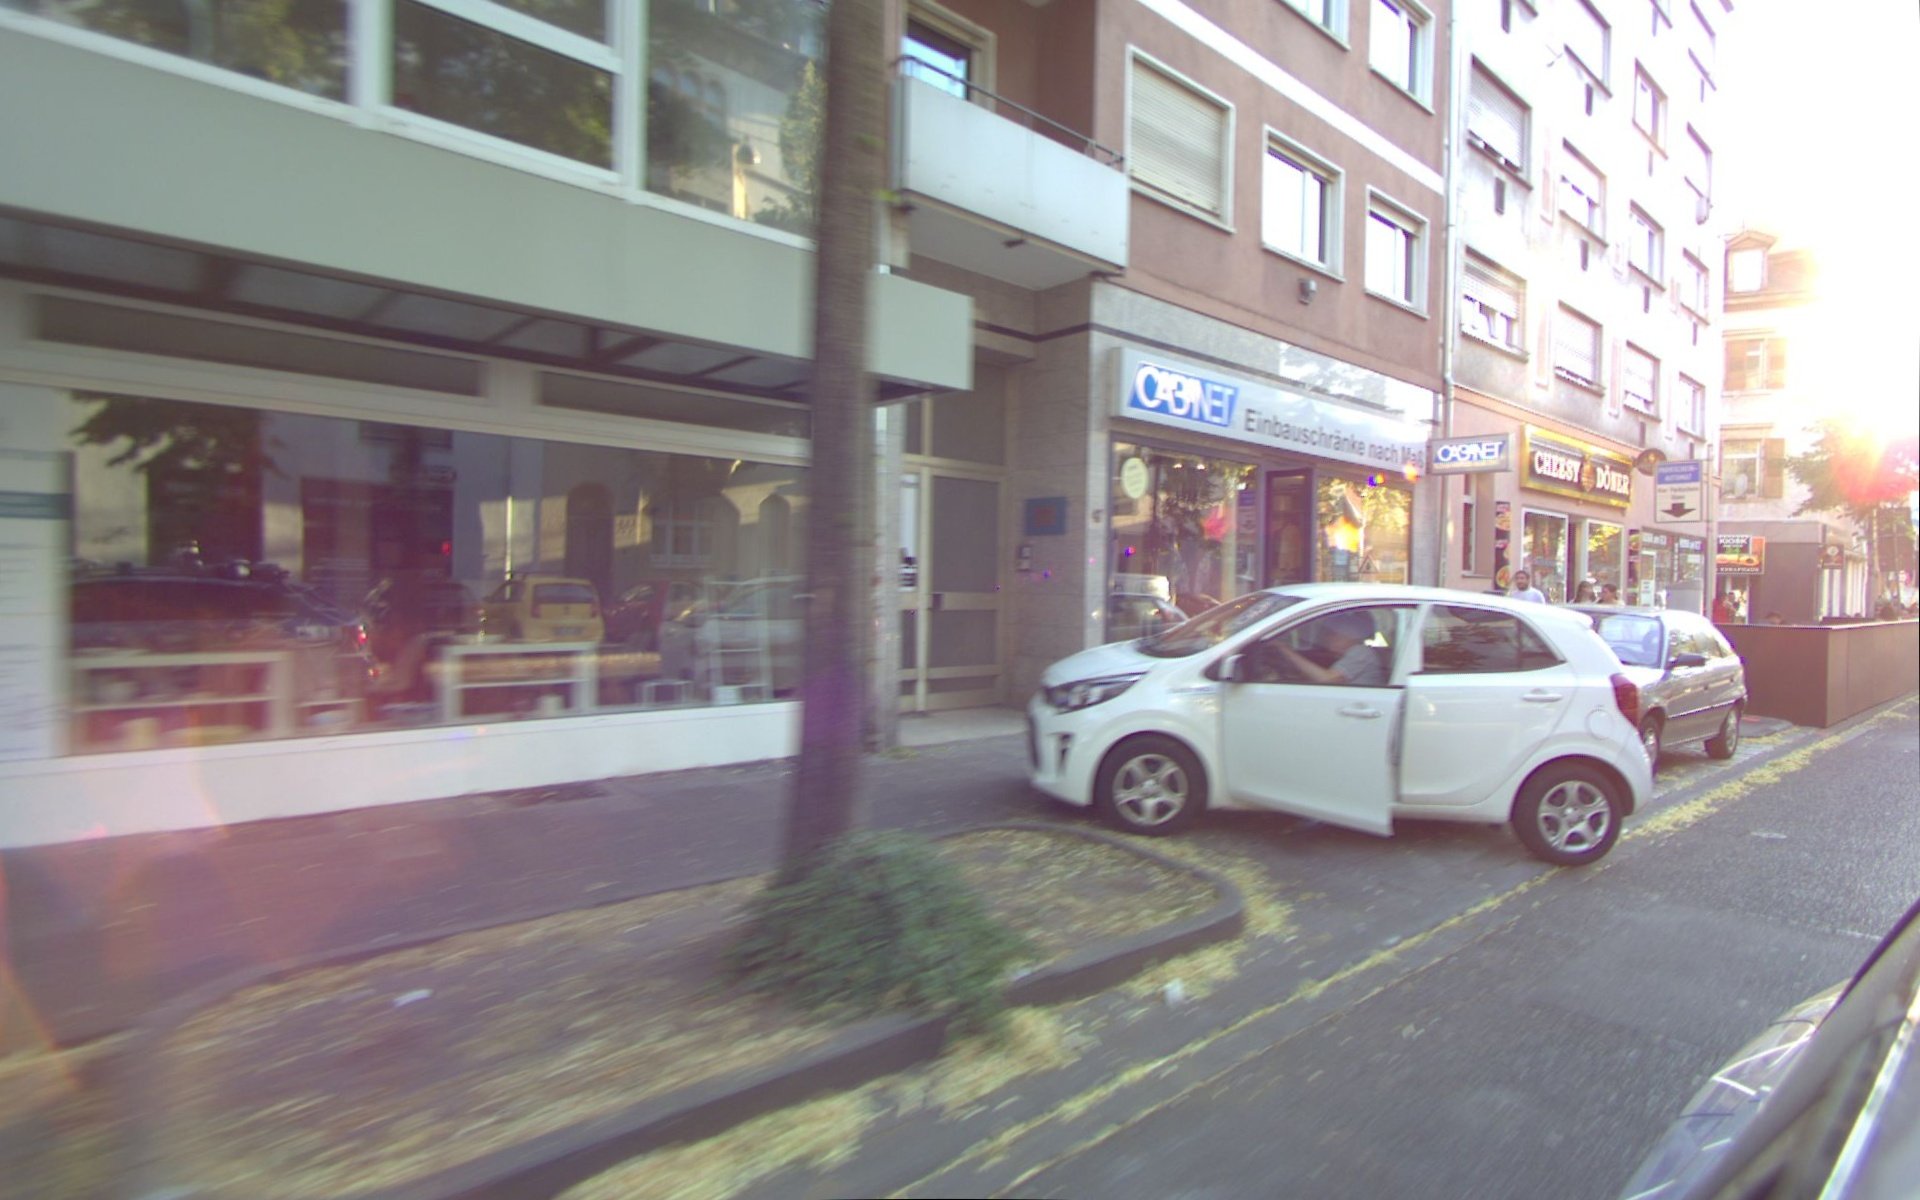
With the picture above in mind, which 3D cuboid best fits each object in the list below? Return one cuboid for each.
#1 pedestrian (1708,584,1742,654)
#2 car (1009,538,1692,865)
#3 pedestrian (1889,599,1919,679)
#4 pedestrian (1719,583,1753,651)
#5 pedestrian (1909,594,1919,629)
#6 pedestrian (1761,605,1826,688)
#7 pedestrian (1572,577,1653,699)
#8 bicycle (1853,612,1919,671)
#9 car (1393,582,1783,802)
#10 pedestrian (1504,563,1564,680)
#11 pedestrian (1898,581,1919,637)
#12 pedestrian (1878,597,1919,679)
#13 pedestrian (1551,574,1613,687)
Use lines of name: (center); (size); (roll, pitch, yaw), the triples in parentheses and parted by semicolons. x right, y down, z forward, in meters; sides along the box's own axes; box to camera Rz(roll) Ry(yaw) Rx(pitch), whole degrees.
pedestrian: (18.526, 0.446, 24.509); (0.563, 1.644, 0.493); (0, 2, -40)
car: (2.165, 0.528, 6.368); (3.555, 1.603, 1.666); (3, 1, 0)
pedestrian: (18.414, 0.747, 19.627); (0.553, 1.498, 0.448); (0, 2, -40)
pedestrian: (19.314, 0.412, 25.197); (0.563, 1.644, 0.493); (0, 2, -40)
pedestrian: (43.965, 0.545, 46.246); (0.743, 1.594, 0.719); (0, 2, -40)
pedestrian: (14.136, 0.769, 17.173); (0.636, 1.322, 0.687); (0, 2, -39)
pedestrian: (9.253, 0.513, 14.351); (0.841, 1.652, 0.747); (0, 1, -41)
bicycle: (20.911, 0.918, 22.313); (0.469, 1.230, 2.063); (1, 1, -4)
car: (5.952, 0.678, 9.437); (3.919, 1.491, 1.831); (0, 5, -39)
pedestrian: (8.909, 0.322, 15.704); (0.657, 1.760, 0.607); (0, 1, -41)
pedestrian: (33.388, 0.318, 35.362); (0.743, 1.898, 0.719); (0, 2, -40)
pedestrian: (17.651, 0.704, 19.021); (0.538, 1.498, 0.448); (0, 2, -40)
pedestrian: (9.334, 0.437, 15.192); (0.657, 1.652, 0.607); (0, 1, -41)
